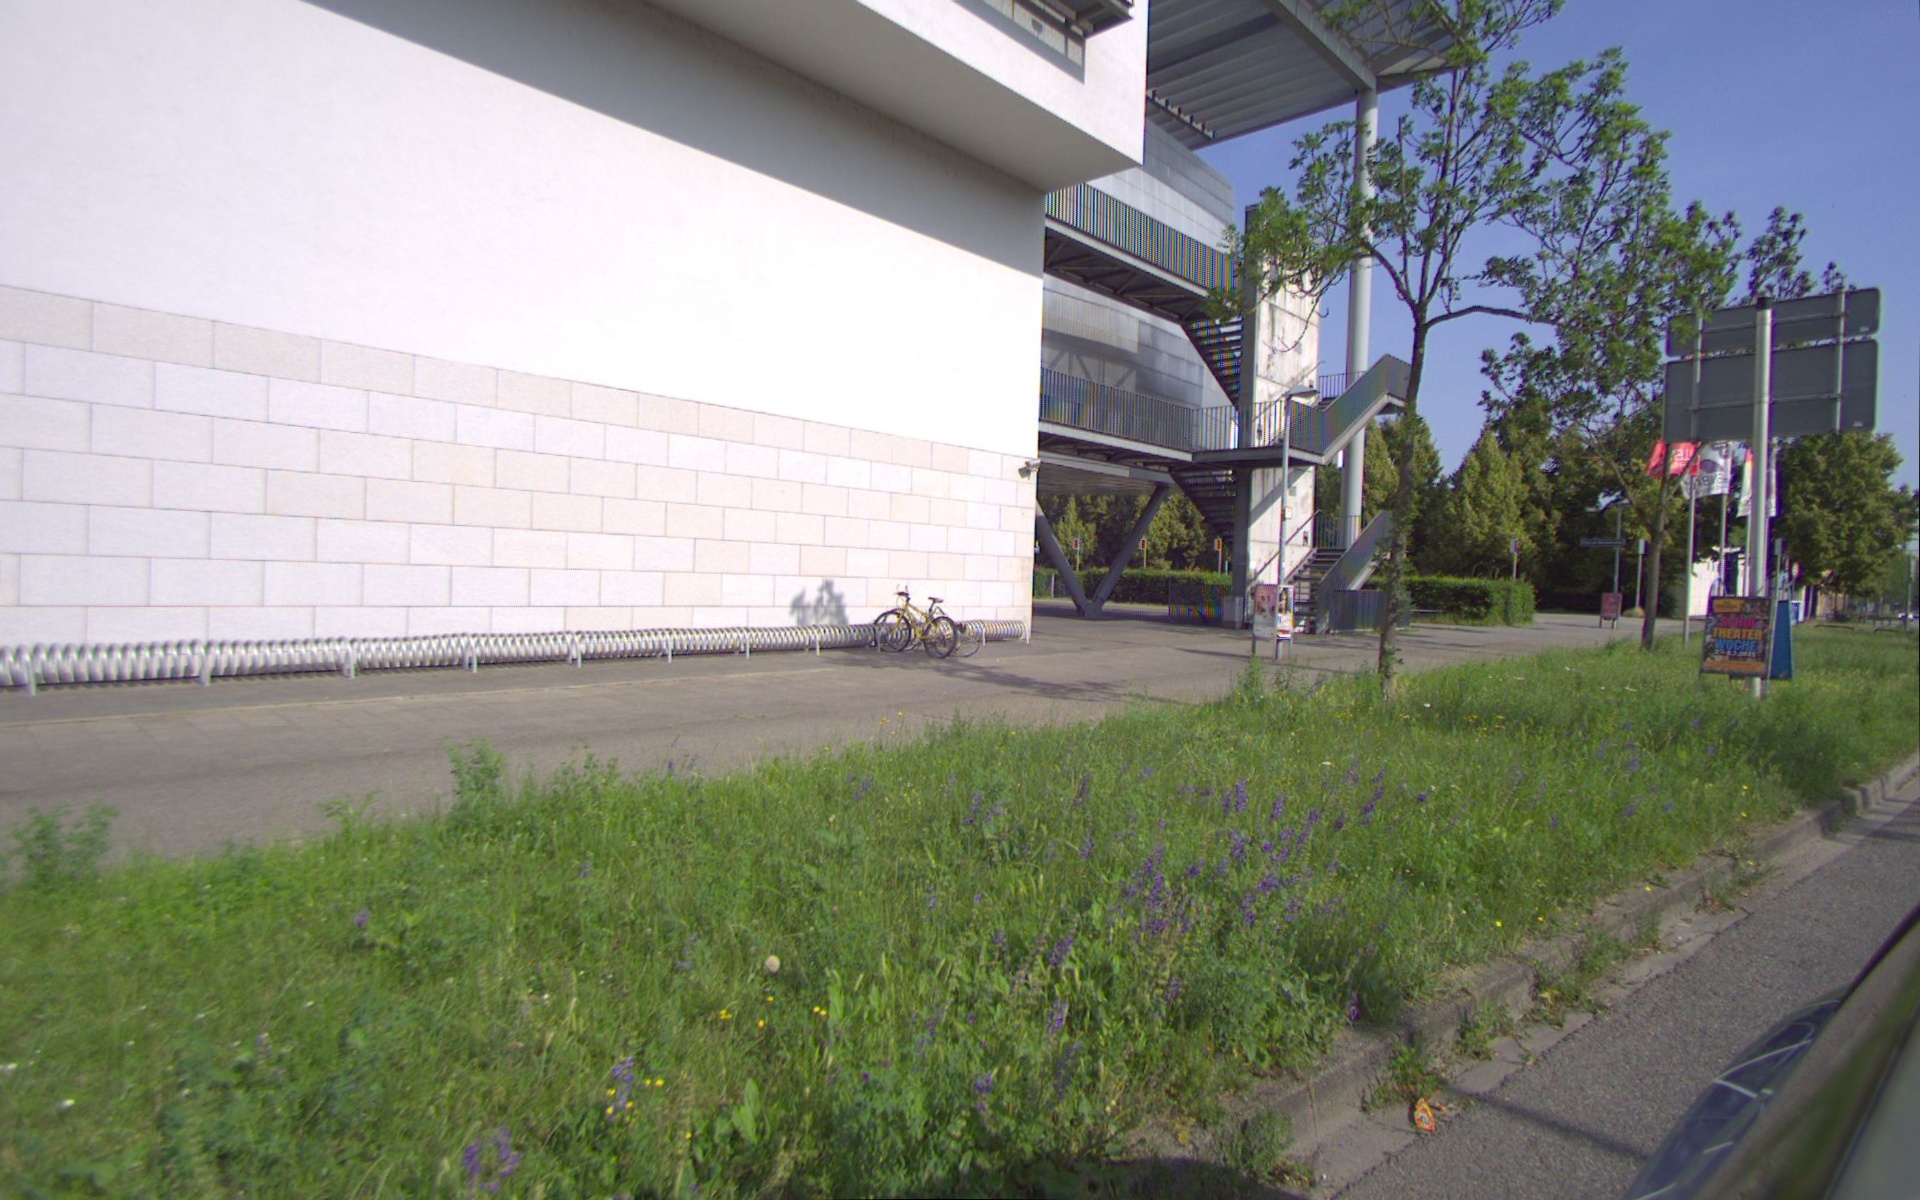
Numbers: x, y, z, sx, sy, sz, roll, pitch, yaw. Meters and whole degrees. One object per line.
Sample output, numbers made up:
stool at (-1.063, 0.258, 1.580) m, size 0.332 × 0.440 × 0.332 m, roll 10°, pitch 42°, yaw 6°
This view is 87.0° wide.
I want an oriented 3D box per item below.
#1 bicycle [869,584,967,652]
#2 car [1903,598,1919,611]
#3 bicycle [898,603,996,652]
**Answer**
bicycle at (-0.662, 0.252, 15.302) m, size 0.475 × 0.926 × 1.658 m, roll 0°, pitch 2°, yaw -45°
car at (131.209, 0.628, 139.220) m, size 1.994 × 1.682 × 3.937 m, roll 3°, pitch 2°, yaw 44°
bicycle at (-0.223, 0.415, 15.801) m, size 0.529 × 0.653 × 1.658 m, roll 0°, pitch 2°, yaw -45°
